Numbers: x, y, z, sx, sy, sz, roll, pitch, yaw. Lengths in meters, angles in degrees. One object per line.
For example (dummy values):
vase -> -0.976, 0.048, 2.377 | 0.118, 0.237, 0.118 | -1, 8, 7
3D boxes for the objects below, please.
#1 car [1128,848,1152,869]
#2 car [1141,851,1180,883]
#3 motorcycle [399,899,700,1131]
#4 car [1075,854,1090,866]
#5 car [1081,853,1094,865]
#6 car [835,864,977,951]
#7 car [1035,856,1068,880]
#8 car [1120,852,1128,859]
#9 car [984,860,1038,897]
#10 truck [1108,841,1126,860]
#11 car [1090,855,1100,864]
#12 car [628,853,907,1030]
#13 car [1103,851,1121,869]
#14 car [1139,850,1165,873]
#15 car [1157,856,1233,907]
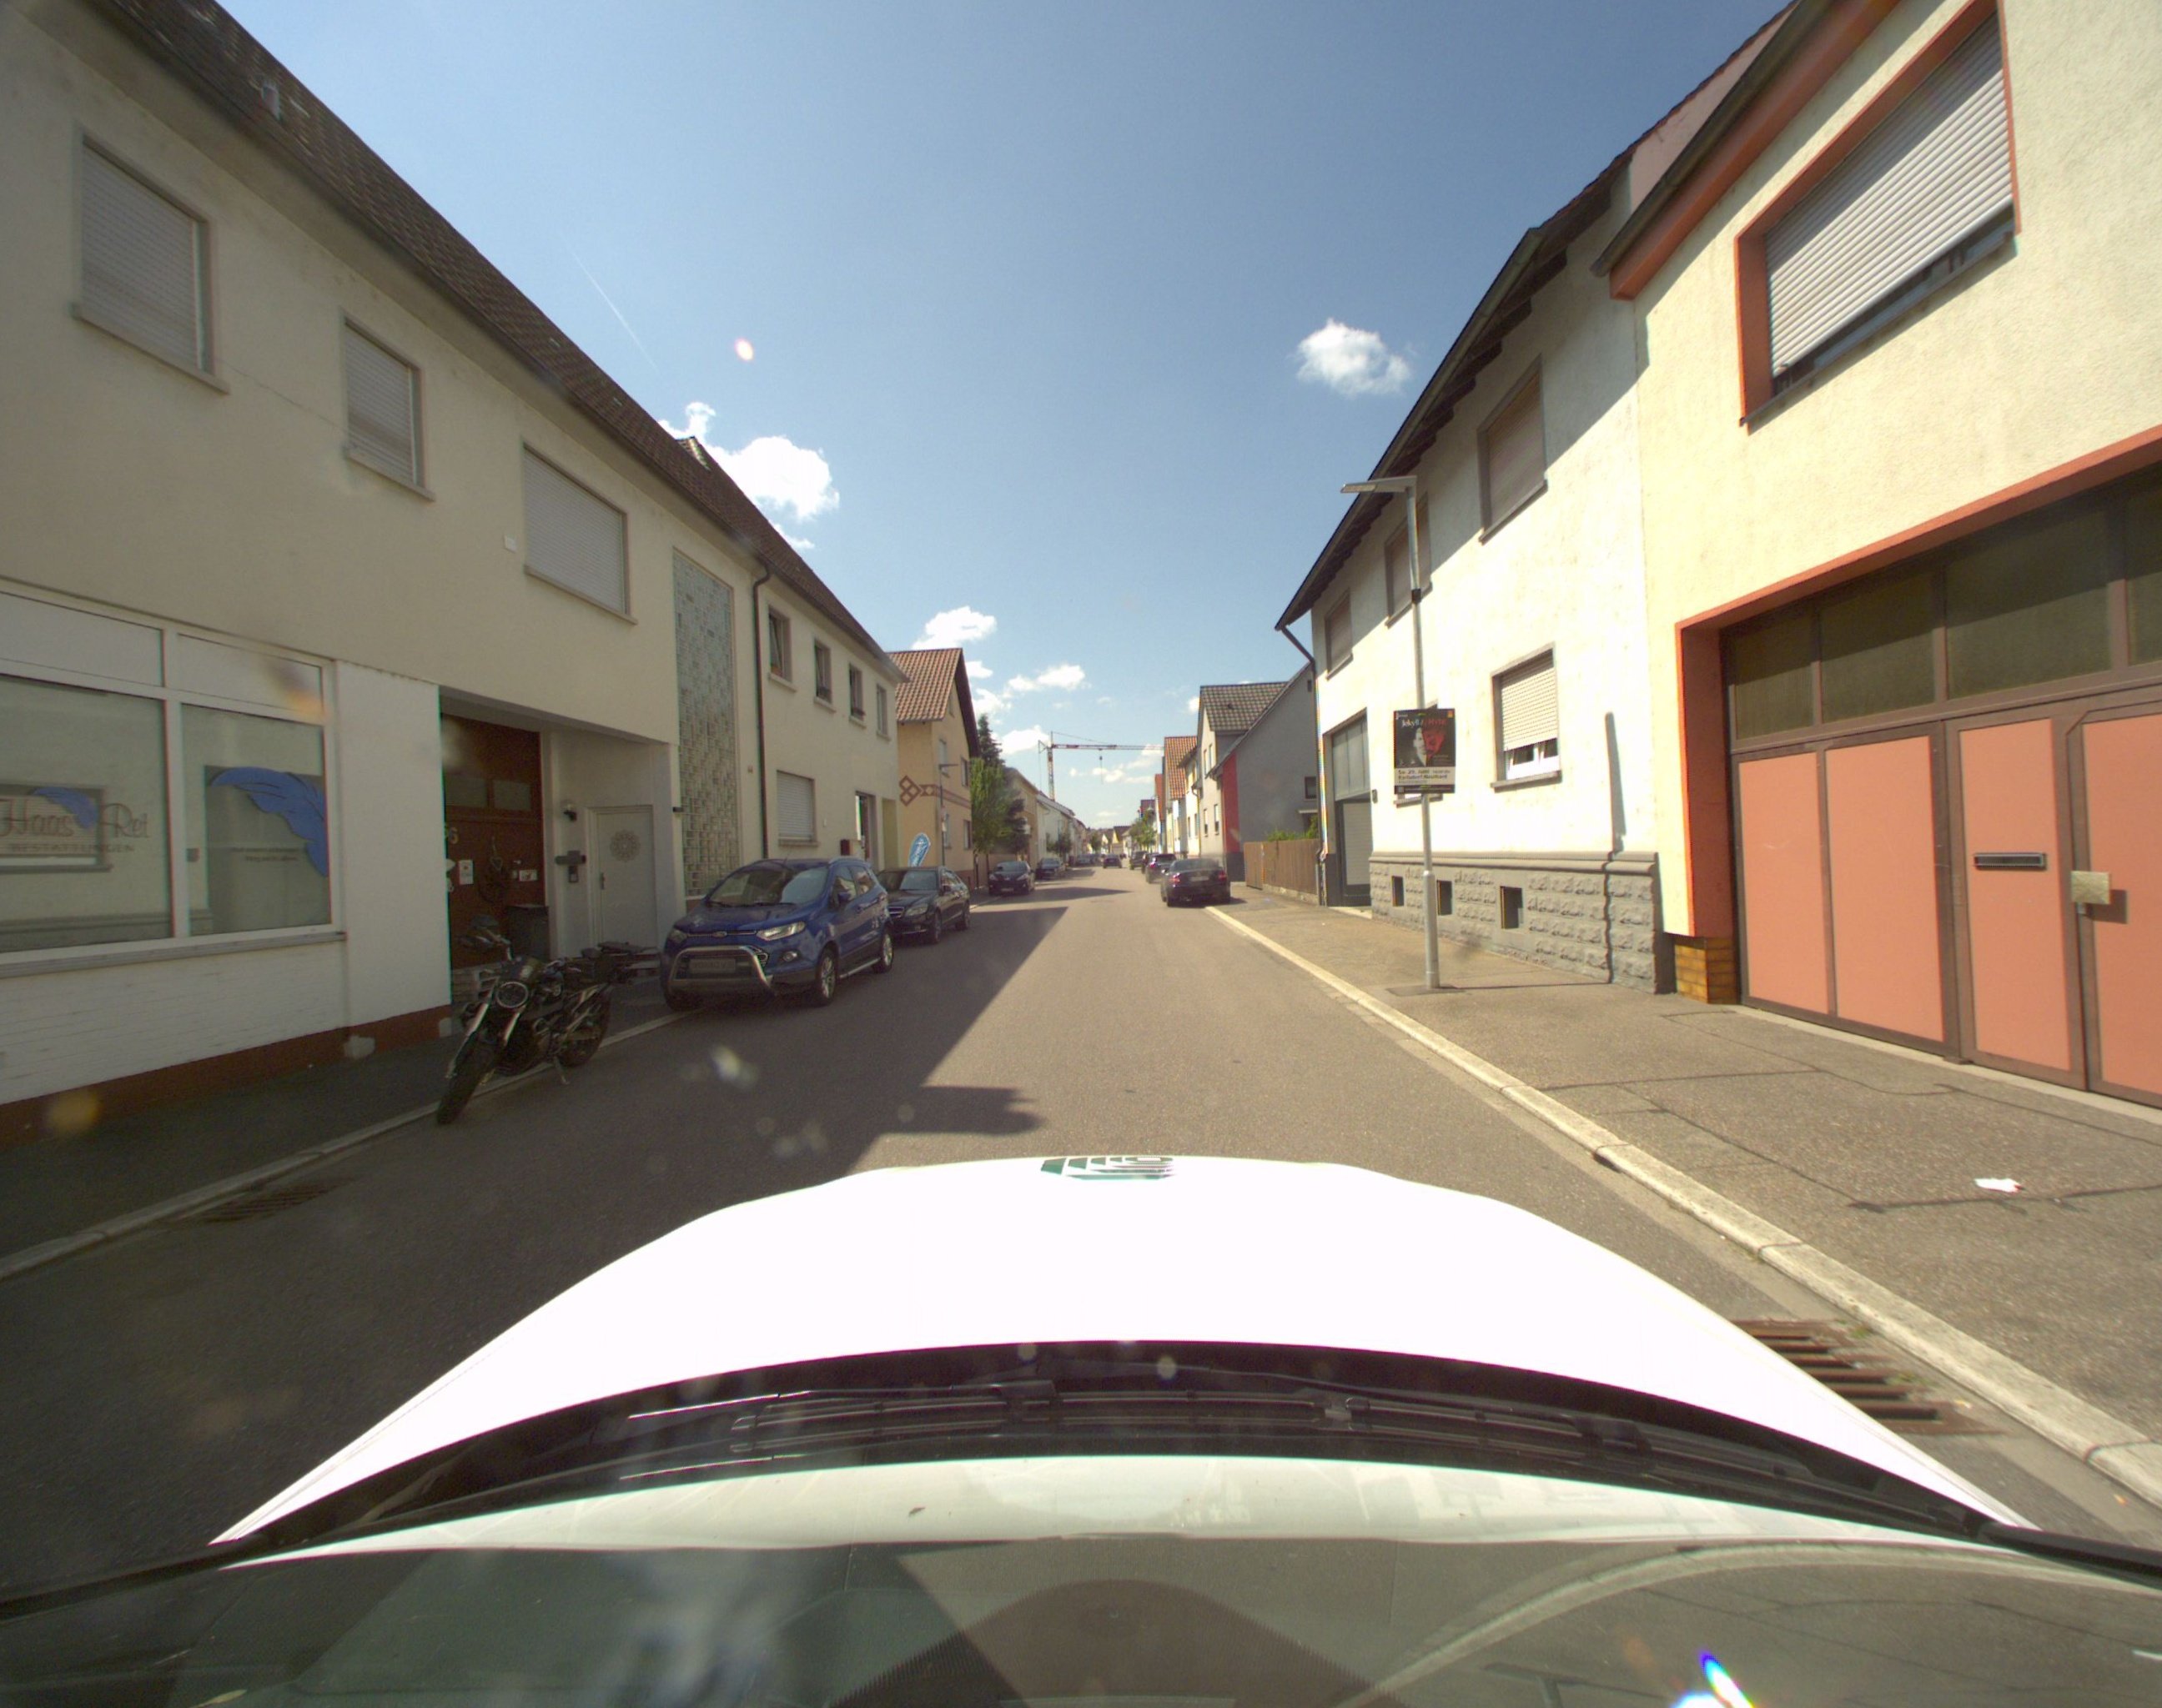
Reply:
car -> 5.259, 0.371, 72.874 | 1.723, 1.717, 4.275 | -3, 0, 0
car -> 3.888, 0.627, 40.341 | 1.682, 1.422, 3.659 | -3, 0, 2
motorcycle -> -3.862, 1.080, 6.210 | 0.805, 1.312, 2.106 | -3, 0, 2
car -> 0.222, 0.758, 105.066 | 1.752, 1.525, 4.291 | -3, 0, 2
car -> 0.904, 0.688, 111.591 | 1.647, 1.609, 4.063 | -3, 0, 2
car -> -3.366, 0.966, 16.554 | 1.691, 1.411, 4.393 | -2, 0, 2
car -> -1.968, 0.905, 55.605 | 1.760, 1.460, 4.441 | -3, 0, 4
car -> 11.106, 0.341, 210.753 | 1.777, 1.564, 4.337 | -4, 0, 0
car -> -2.925, 0.990, 34.674 | 1.754, 1.374, 4.068 | -2, 0, 2
truck -> 7.772, -0.736, 177.618 | 3.367, 3.865, 13.928 | -4, 0, 1
car -> 2.625, 0.985, 151.112 | 1.716, 1.555, 4.175 | -1, 0, 3
car -> -3.602, 0.879, 10.271 | 1.711, 1.639, 4.149 | -4, 0, 1
car -> 3.156, 0.621, 83.722 | 1.776, 1.753, 4.001 | -4, 0, 1
car -> 5.222, 0.510, 60.239 | 1.611, 1.495, 3.974 | -5, 0, 2
car -> 3.253, 0.736, 23.980 | 1.808, 1.275, 4.150 | -3, 0, 3
